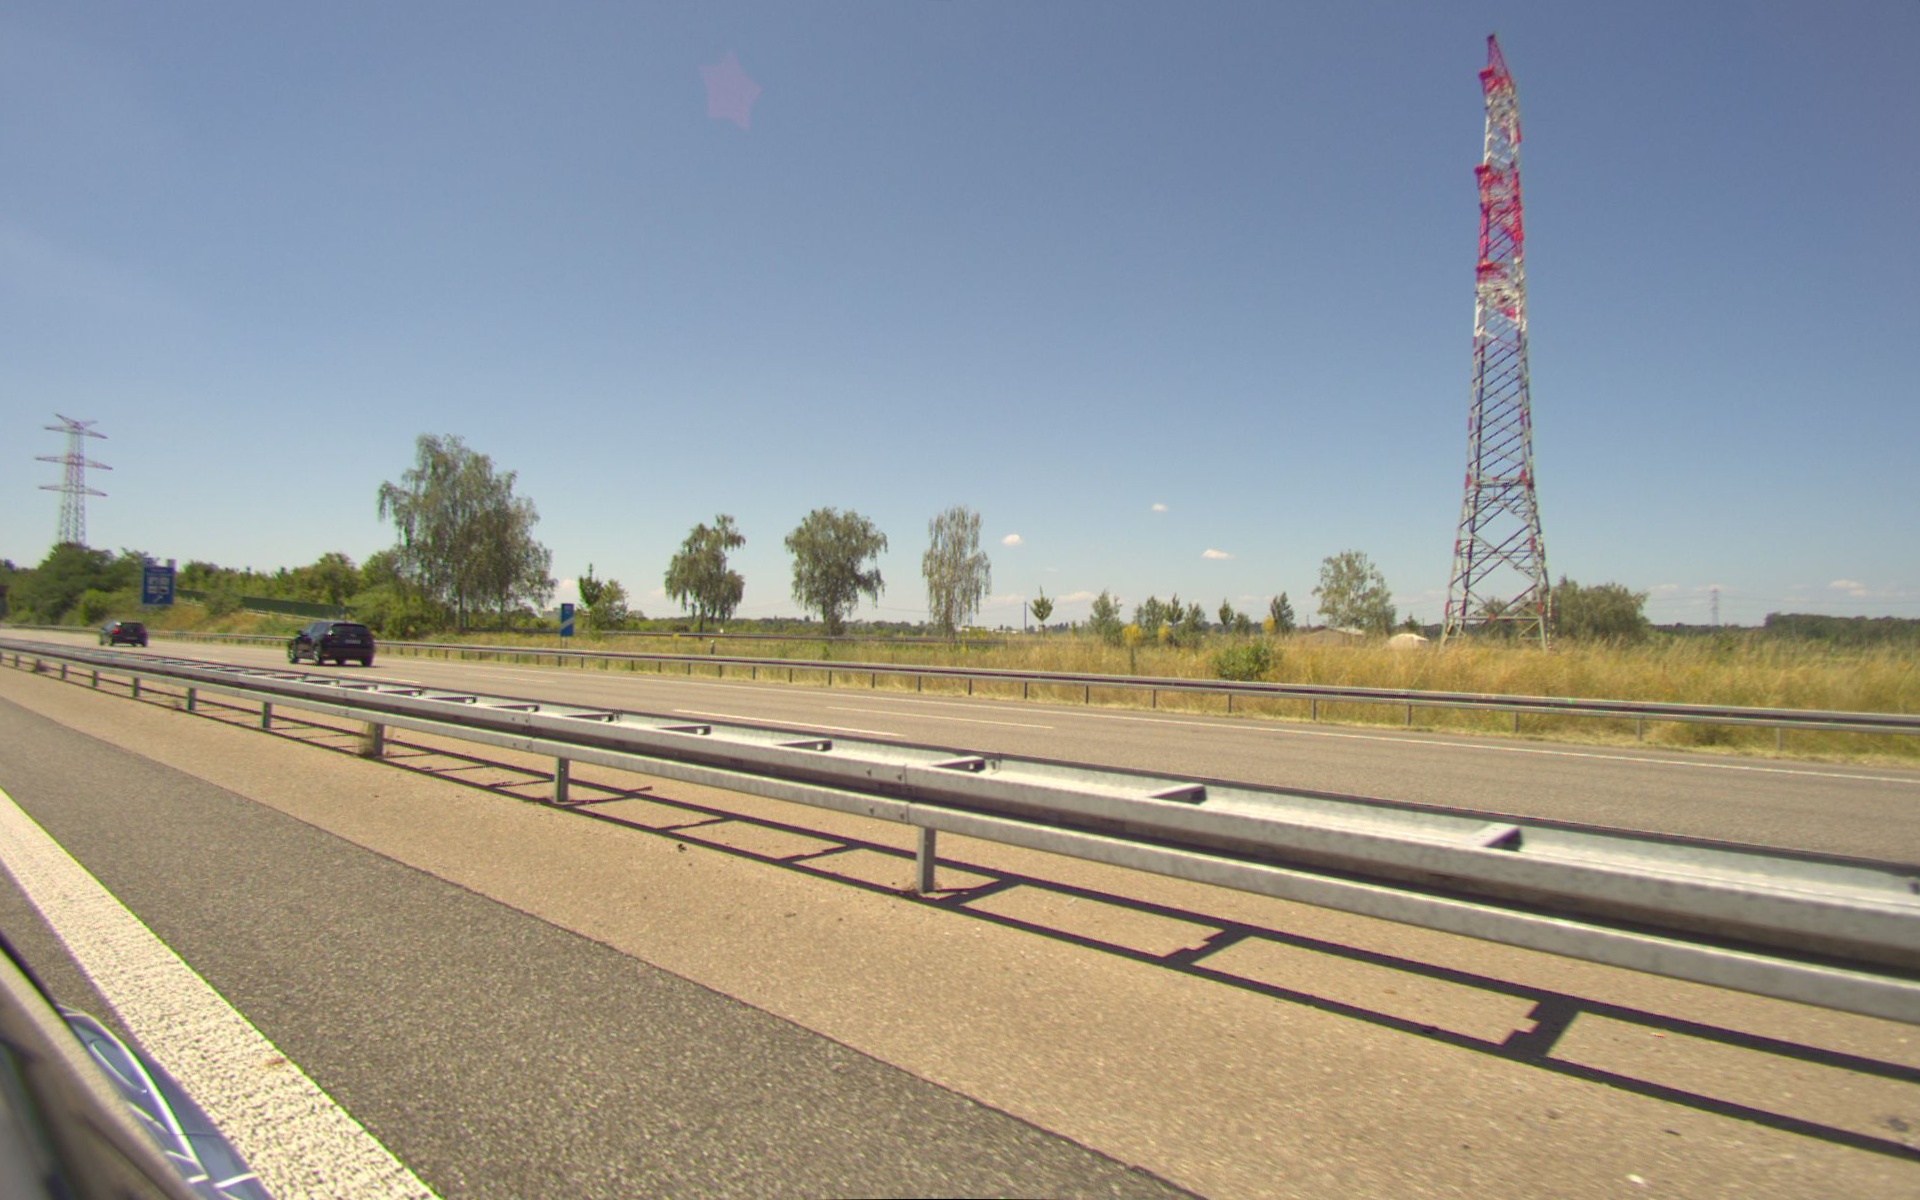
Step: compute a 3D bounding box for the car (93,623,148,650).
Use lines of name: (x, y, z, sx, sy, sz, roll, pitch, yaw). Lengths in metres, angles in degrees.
car: (-48.972, 2.130, 59.004, 4.280, 1.471, 1.601, -1, -5, 40)

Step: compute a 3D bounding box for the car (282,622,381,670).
car: (-23.443, 1.685, 37.691, 4.411, 1.642, 1.821, -1, -5, 41)
